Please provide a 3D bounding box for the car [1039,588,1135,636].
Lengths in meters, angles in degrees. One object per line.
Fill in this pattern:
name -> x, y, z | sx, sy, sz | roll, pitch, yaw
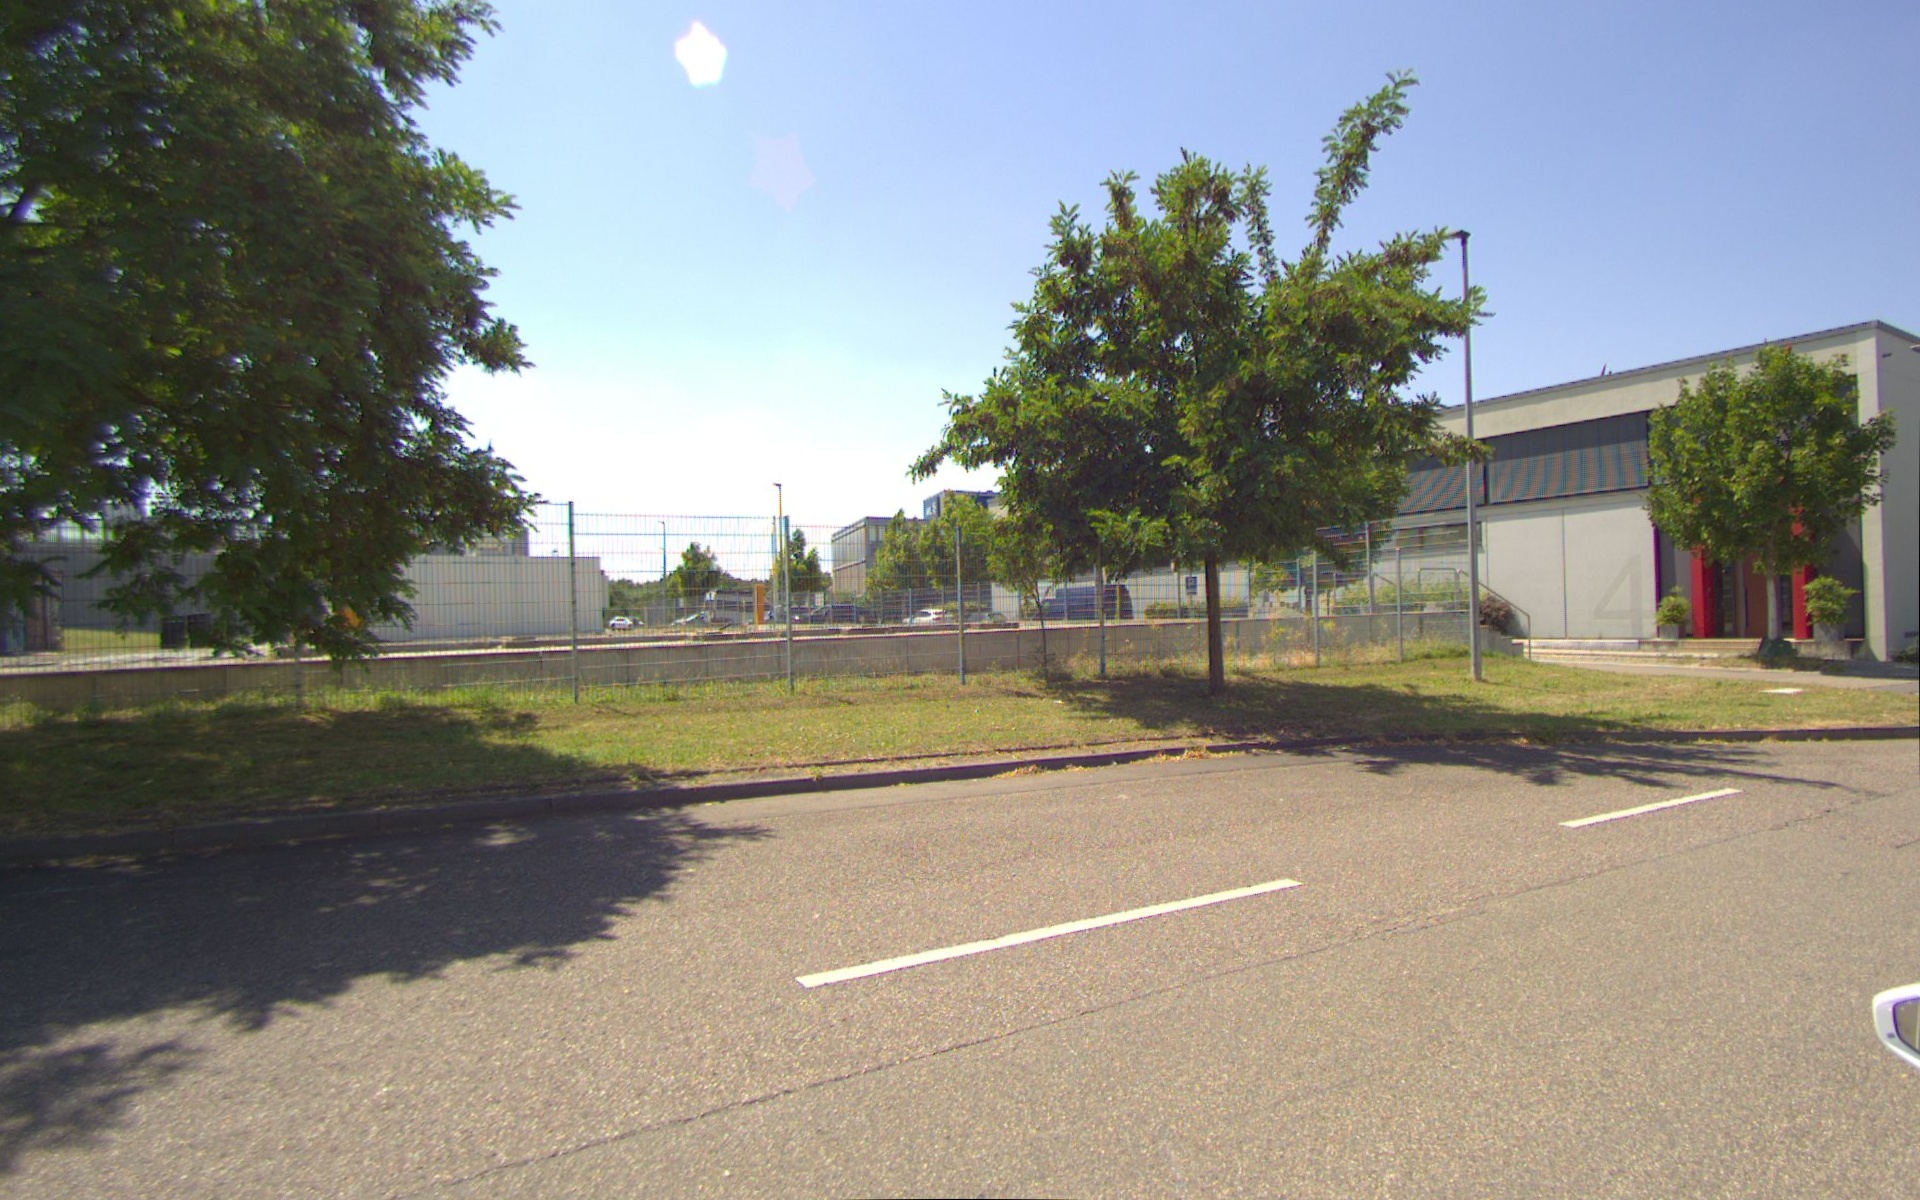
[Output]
car -> 6.540, 0.564, 52.245 | 2.108, 2.303, 5.216 | -3, 2, -31

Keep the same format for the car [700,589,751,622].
car -> -15.179, 0.355, 64.955 | 2.257, 2.040, 3.969 | 0, 0, -29

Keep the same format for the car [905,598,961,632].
car -> -1.818, 0.936, 65.948 | 1.948, 2.041, 3.968 | -3, 2, -30

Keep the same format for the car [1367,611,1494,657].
car -> 17.066, 1.186, 36.593 | 1.638, 1.427, 3.980 | -3, 2, -31

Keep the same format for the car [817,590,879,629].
car -> -6.214, 0.503, 55.386 | 1.951, 2.040, 3.968 | 1, 0, -30
